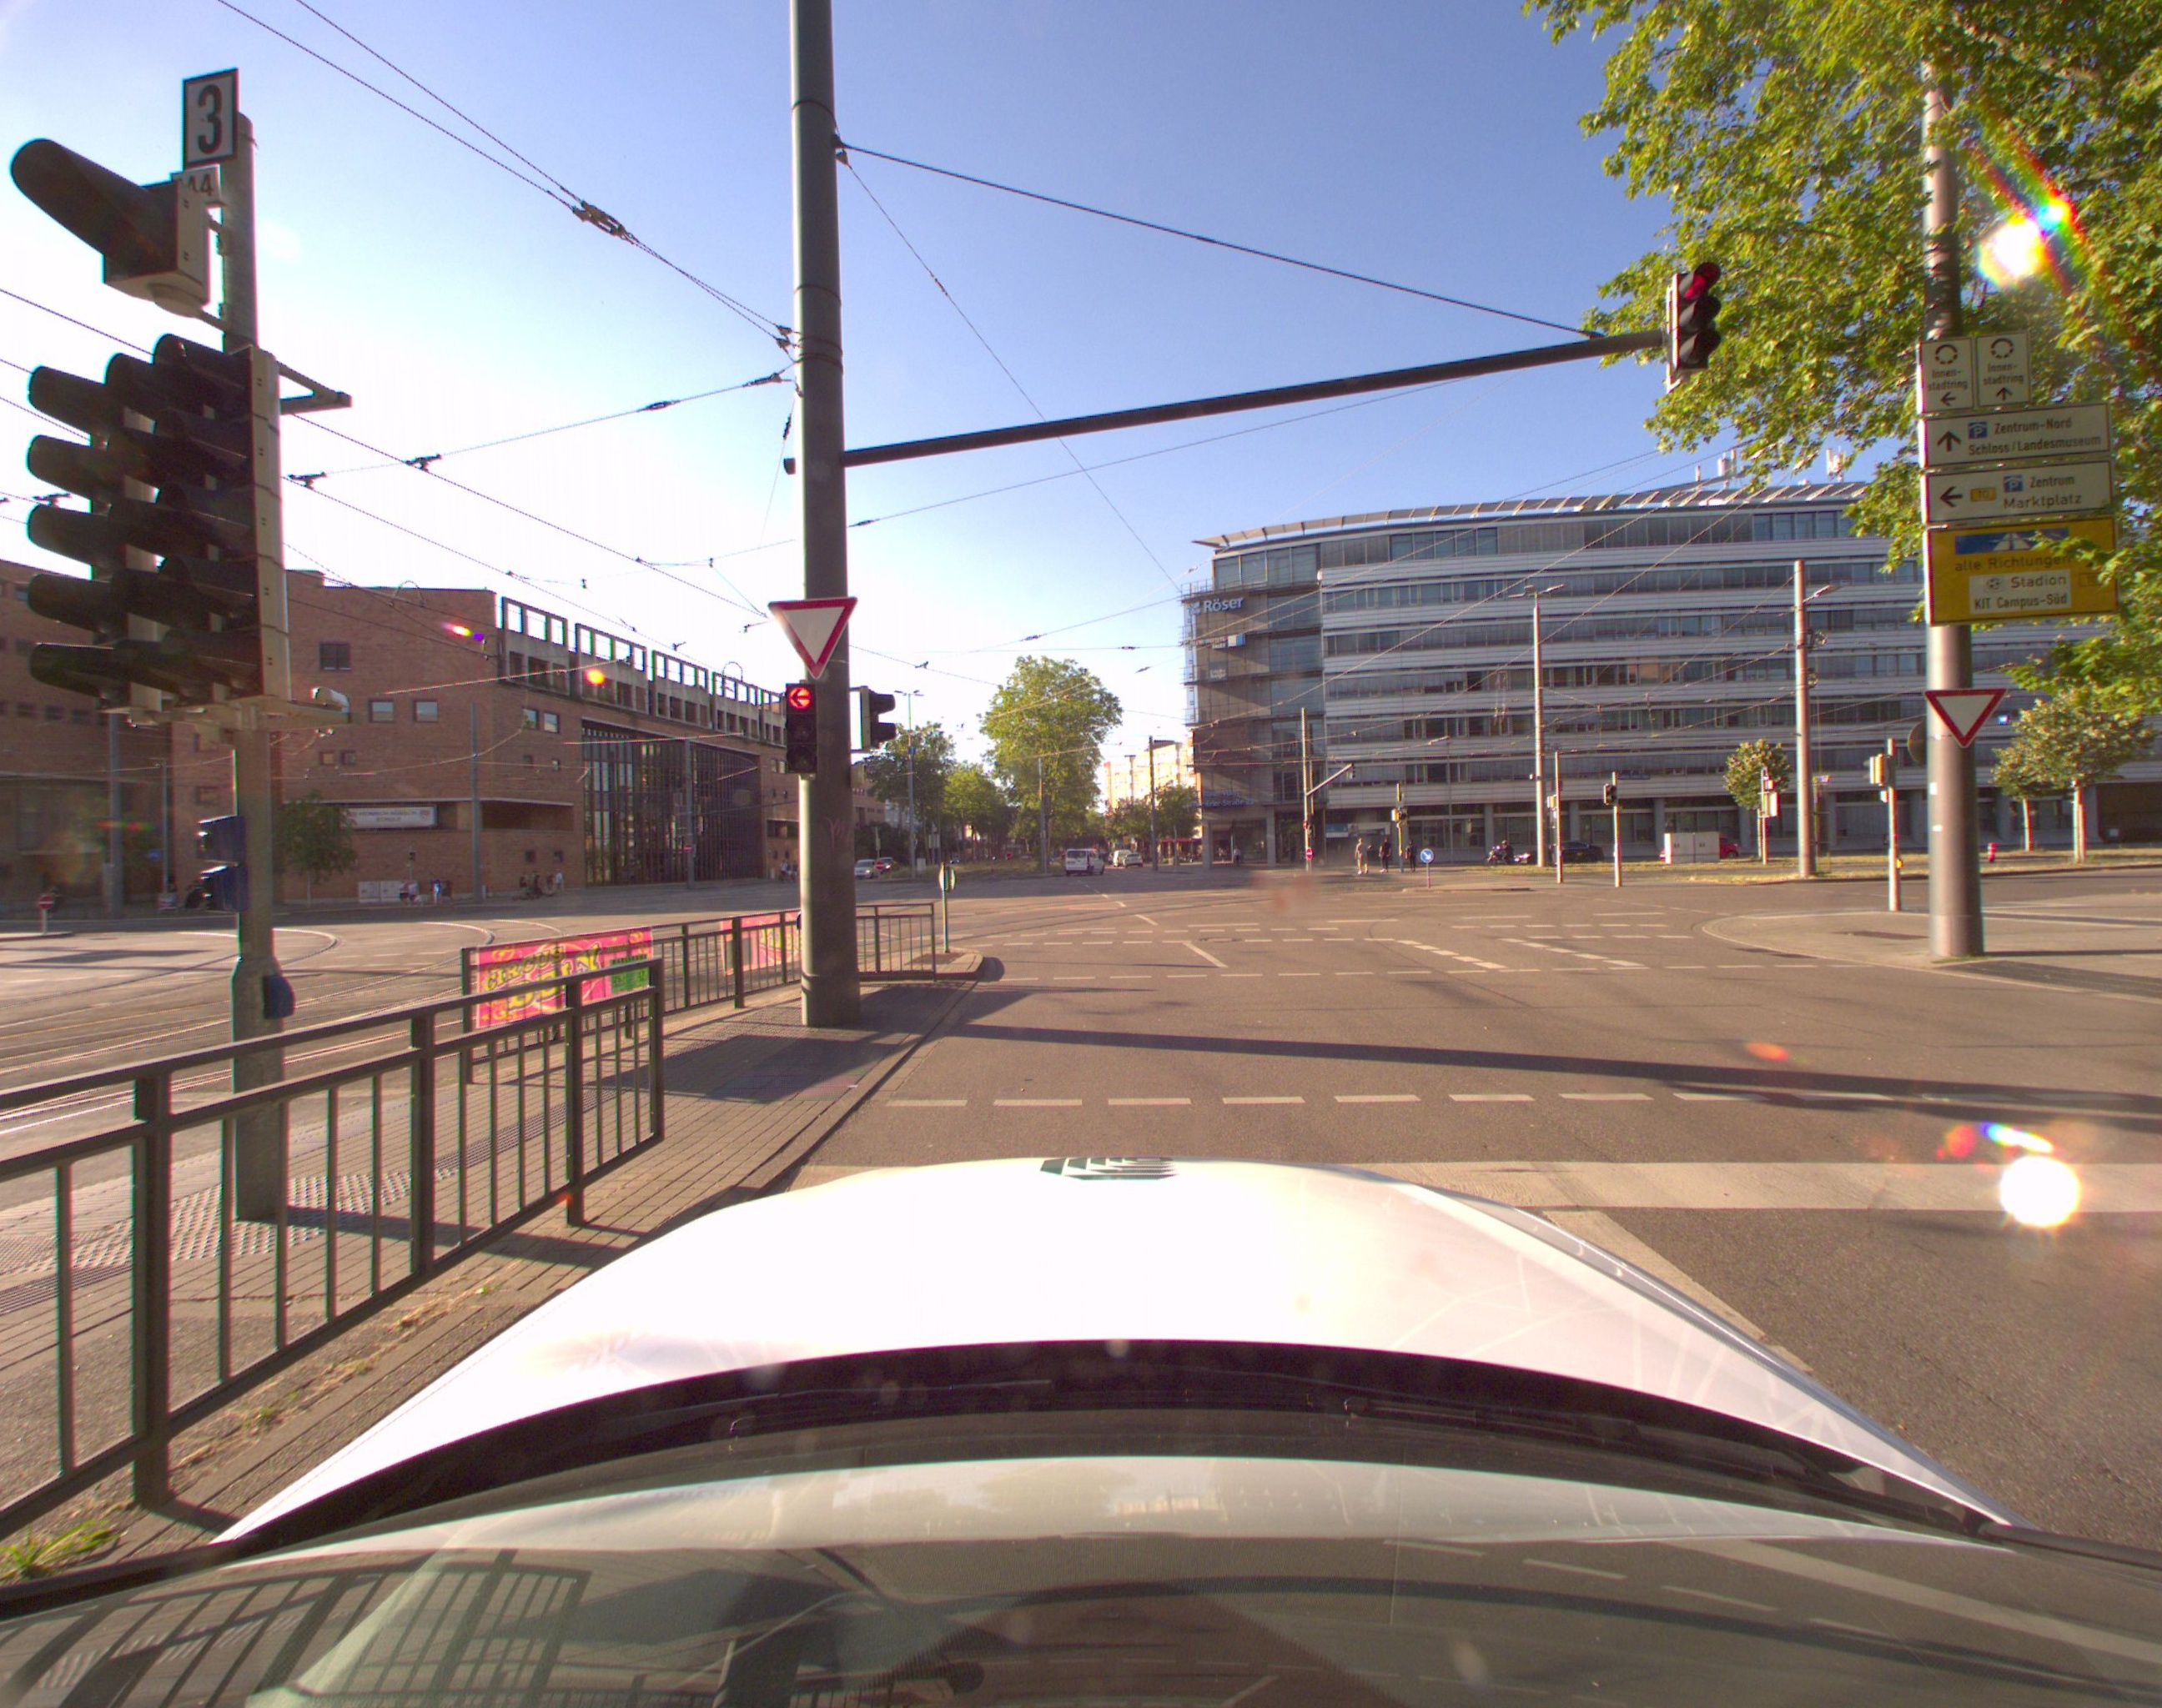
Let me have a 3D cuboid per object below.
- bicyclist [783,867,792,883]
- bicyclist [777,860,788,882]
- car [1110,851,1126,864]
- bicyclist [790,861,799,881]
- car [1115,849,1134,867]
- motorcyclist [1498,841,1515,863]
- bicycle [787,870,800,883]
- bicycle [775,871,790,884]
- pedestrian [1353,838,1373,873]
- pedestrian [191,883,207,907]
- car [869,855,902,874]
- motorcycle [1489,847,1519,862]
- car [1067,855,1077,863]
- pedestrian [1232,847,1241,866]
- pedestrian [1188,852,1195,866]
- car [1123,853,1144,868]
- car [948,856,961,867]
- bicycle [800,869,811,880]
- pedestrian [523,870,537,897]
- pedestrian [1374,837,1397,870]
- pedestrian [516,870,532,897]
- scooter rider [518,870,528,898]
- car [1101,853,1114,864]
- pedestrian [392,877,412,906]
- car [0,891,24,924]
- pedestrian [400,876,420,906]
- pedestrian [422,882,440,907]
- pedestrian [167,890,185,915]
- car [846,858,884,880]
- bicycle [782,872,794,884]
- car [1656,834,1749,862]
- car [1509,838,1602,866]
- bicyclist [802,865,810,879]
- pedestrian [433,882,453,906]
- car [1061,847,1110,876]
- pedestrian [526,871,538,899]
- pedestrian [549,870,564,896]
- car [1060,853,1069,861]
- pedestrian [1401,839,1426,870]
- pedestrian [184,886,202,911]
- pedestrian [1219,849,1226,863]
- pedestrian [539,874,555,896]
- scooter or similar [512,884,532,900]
[{"bbox_3d":[-24.998,1.796,69.433,0.503,1.304,0.581,-2,0,1],"label":"bicyclist"},{"bbox_3d":[-24.313,1.390,66.327,0.534,1.731,0.581,-2,0,1],"label":"bicyclist"},{"bbox_3d":[4.818,0.477,105.299,1.986,1.618,4.002,-2,0,2],"label":"car"},{"bbox_3d":[-23.406,1.420,66.527,0.456,1.603,0.581,-2,0,1],"label":"bicyclist"},{"bbox_3d":[4.742,0.449,89.644,1.986,1.860,4.002,-2,0,2],"label":"car"},{"bbox_3d":[25.611,-0.129,49.026,0.708,1.275,0.460,-2,0,5],"label":"motorcyclist"},{"bbox_3d":[-23.466,1.840,66.451,0.471,0.963,1.576,-2,0,2],"label":"bicycle"},{"bbox_3d":[-24.303,1.898,66.377,0.540,0.963,1.587,-2,0,2],"label":"bicycle"},{"bbox_3d":[14.689,0.072,42.489,0.857,1.788,0.875,-2,0,15],"label":"pedestrian"},{"bbox_3d":[-53.964,2.513,49.830,0.549,1.427,0.563,-2,0,33],"label":"pedestrian"},{"bbox_3d":[-18.118,0.961,75.532,1.987,1.640,4.001,-2,0,1],"label":"car"},{"bbox_3d":[25.461,0.033,49.032,1.560,0.810,0.468,-2,0,6],"label":"motorcycle"},{"bbox_3d":[-1.648,0.972,147.464,1.792,1.442,3.999,0,-1,0],"label":"car"},{"bbox_3d":[12.640,0.175,66.160,0.608,1.507,0.580,-2,0,8],"label":"pedestrian"},{"bbox_3d":[14.200,0.645,104.894,0.741,1.714,0.612,-2,0,1],"label":"pedestrian"},{"bbox_3d":[5.288,0.620,82.826,1.986,1.376,4.002,-2,0,2],"label":"car"},{"bbox_3d":[-24.807,1.392,160.015,1.987,2.013,3.999,-2,0,-1],"label":"car"},{"bbox_3d":[-24.381,1.809,72.118,0.449,0.963,1.348,-2,0,2],"label":"bicycle"},{"bbox_3d":[-35.446,1.891,52.411,0.566,1.683,0.553,-2,0,41],"label":"pedestrian"},{"bbox_3d":[16.014,-0.015,42.845,0.907,1.685,1.038,-2,0,9],"label":"pedestrian"},{"bbox_3d":[-34.875,1.859,50.988,0.643,1.683,0.626,-2,0,43],"label":"pedestrian"},{"bbox_3d":[-33.718,1.804,49.194,0.441,1.647,0.226,-2,0,-44],"label":"scooter rider"},{"bbox_3d":[4.090,0.656,126.781,1.986,1.618,4.002,-2,0,2],"label":"car"},{"bbox_3d":[-38.456,2.132,46.134,0.593,1.614,0.590,-2,0,3],"label":"pedestrian"},{"bbox_3d":[-55.876,2.762,40.455,3.705,1.575,1.998,-2,0,-7],"label":"car"},{"bbox_3d":[-37.745,2.055,45.816,0.595,1.648,0.550,-2,0,8],"label":"pedestrian"},{"bbox_3d":[-37.807,2.348,47.358,0.568,1.453,0.612,-2,0,-13],"label":"pedestrian"},{"bbox_3d":[-54.573,2.916,49.122,0.584,1.463,0.536,-2,0,20],"label":"pedestrian"},{"bbox_3d":[-18.008,1.217,67.957,1.987,1.640,4.001,-2,0,1],"label":"car"},{"bbox_3d":[-24.991,2.020,69.438,0.466,0.963,1.320,-2,0,2],"label":"bicycle"},{"bbox_3d":[36.565,-0.364,48.014,3.966,1.393,1.789,-4,0,7],"label":"car"},{"bbox_3d":[26.814,-0.118,46.099,4.136,1.398,1.789,-2,0,7],"label":"car"},{"bbox_3d":[-24.370,1.587,72.117,0.503,1.179,0.581,-2,0,1],"label":"bicyclist"},{"bbox_3d":[-36.633,2.283,46.766,0.597,1.339,0.684,-2,0,17],"label":"pedestrian"},{"bbox_3d":[0.368,0.501,57.422,1.945,1.848,5.354,-2,0,17],"label":"car"},{"bbox_3d":[-33.883,1.887,50.270,0.554,1.683,0.585,-2,0,-39],"label":"pedestrian"},{"bbox_3d":[-34.148,1.897,53.037,0.605,1.625,0.622,-2,0,37],"label":"pedestrian"},{"bbox_3d":[-4.009,0.764,204.163,1.986,2.013,4.001,-2,0,1],"label":"car"},{"bbox_3d":[17.181,0.034,42.113,0.943,1.564,0.899,-2,0,9],"label":"pedestrian"},{"bbox_3d":[-52.523,2.642,48.168,0.508,1.463,0.466,-2,0,-6],"label":"pedestrian"},{"bbox_3d":[14.962,0.212,86.120,0.608,1.507,0.580,-2,0,9],"label":"pedestrian"},{"bbox_3d":[-34.046,1.971,51.925,0.634,1.421,0.603,-2,0,32],"label":"pedestrian"},{"bbox_3d":[-33.730,2.276,49.154,0.956,0.899,0.173,-2,0,-45],"label":"scooter or similar"}]
